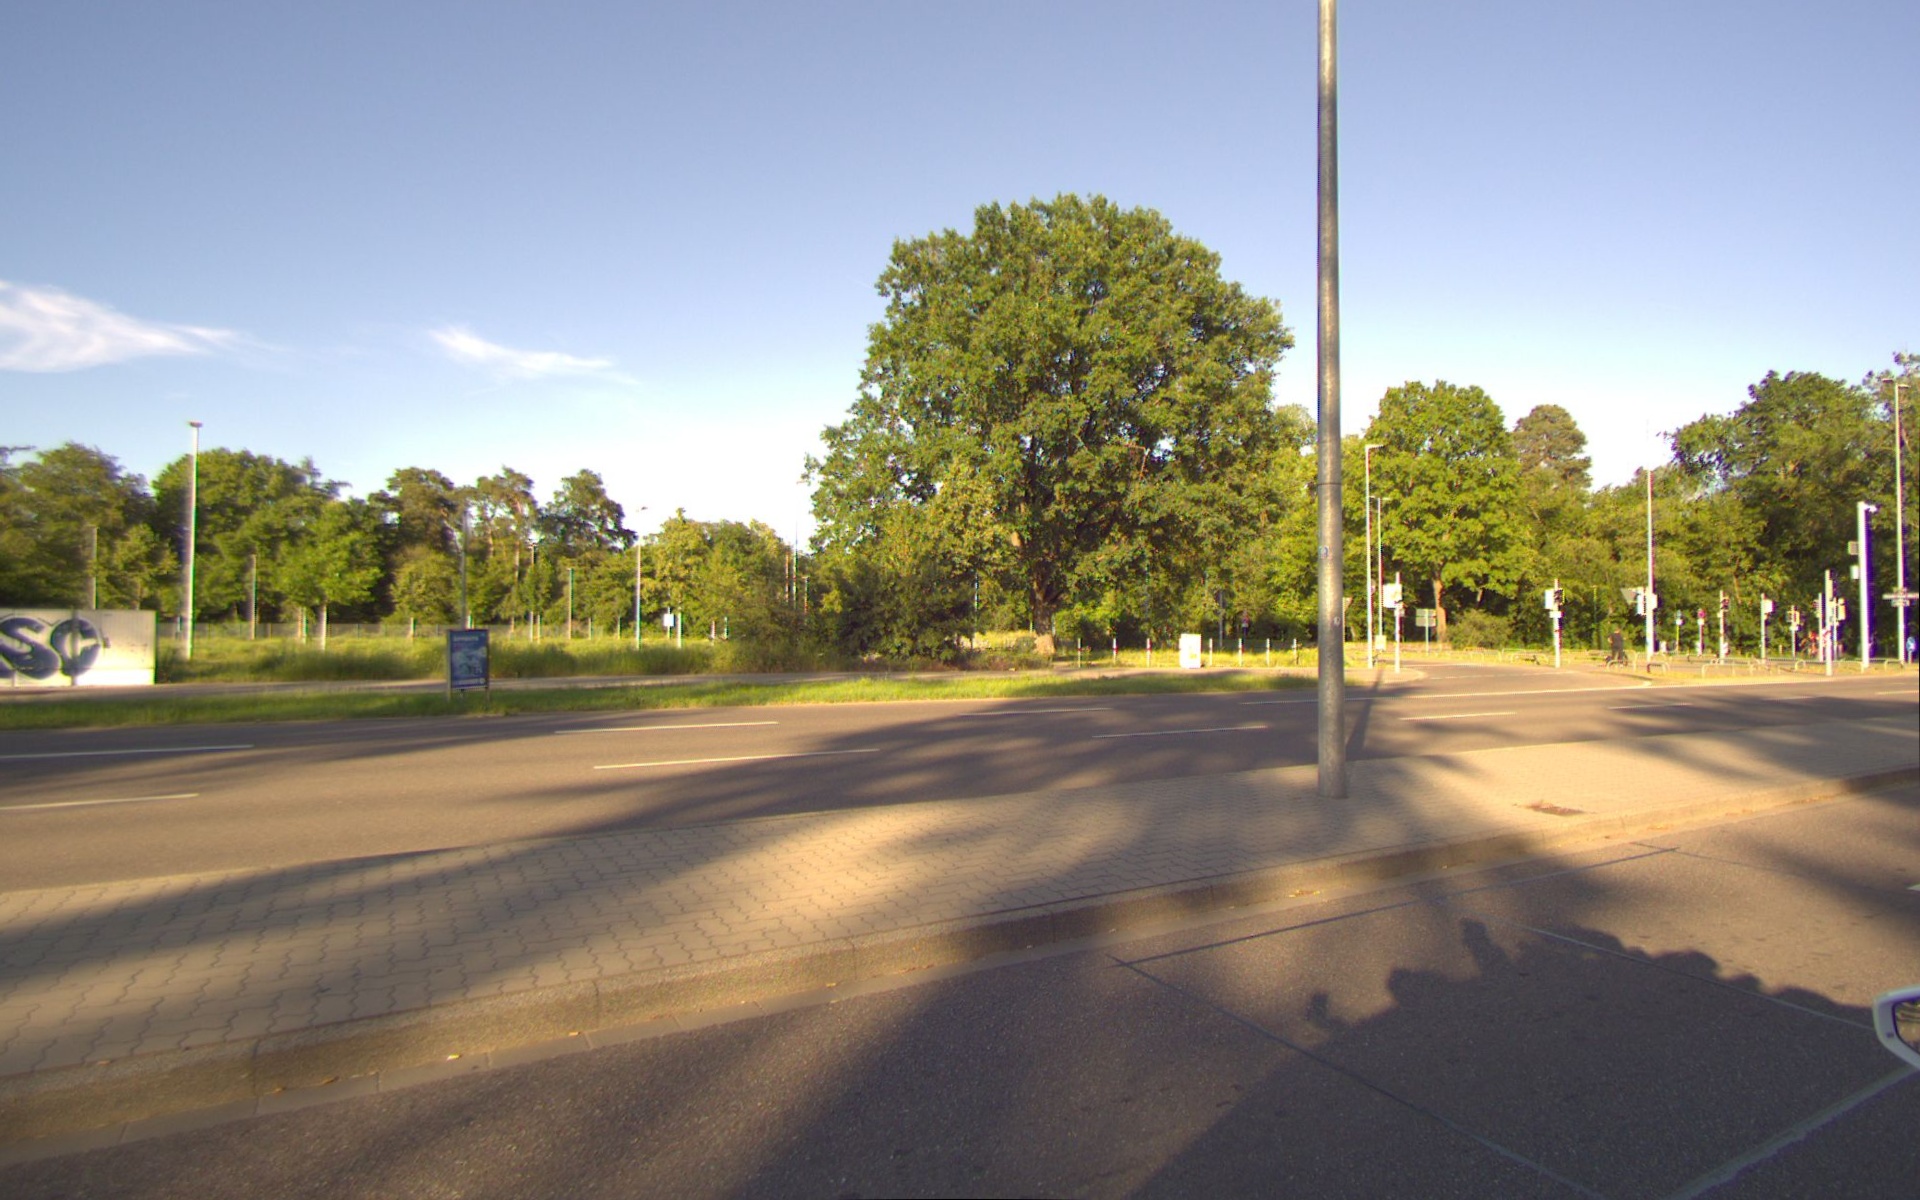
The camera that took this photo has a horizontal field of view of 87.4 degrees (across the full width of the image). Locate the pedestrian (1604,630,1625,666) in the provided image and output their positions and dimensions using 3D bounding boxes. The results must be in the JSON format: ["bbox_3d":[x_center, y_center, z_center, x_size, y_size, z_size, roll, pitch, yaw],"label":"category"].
[{"bbox_3d":[28.983,2.122,44.470,0.636,1.580,0.539,-1,-2,18],"label":"pedestrian"}]
